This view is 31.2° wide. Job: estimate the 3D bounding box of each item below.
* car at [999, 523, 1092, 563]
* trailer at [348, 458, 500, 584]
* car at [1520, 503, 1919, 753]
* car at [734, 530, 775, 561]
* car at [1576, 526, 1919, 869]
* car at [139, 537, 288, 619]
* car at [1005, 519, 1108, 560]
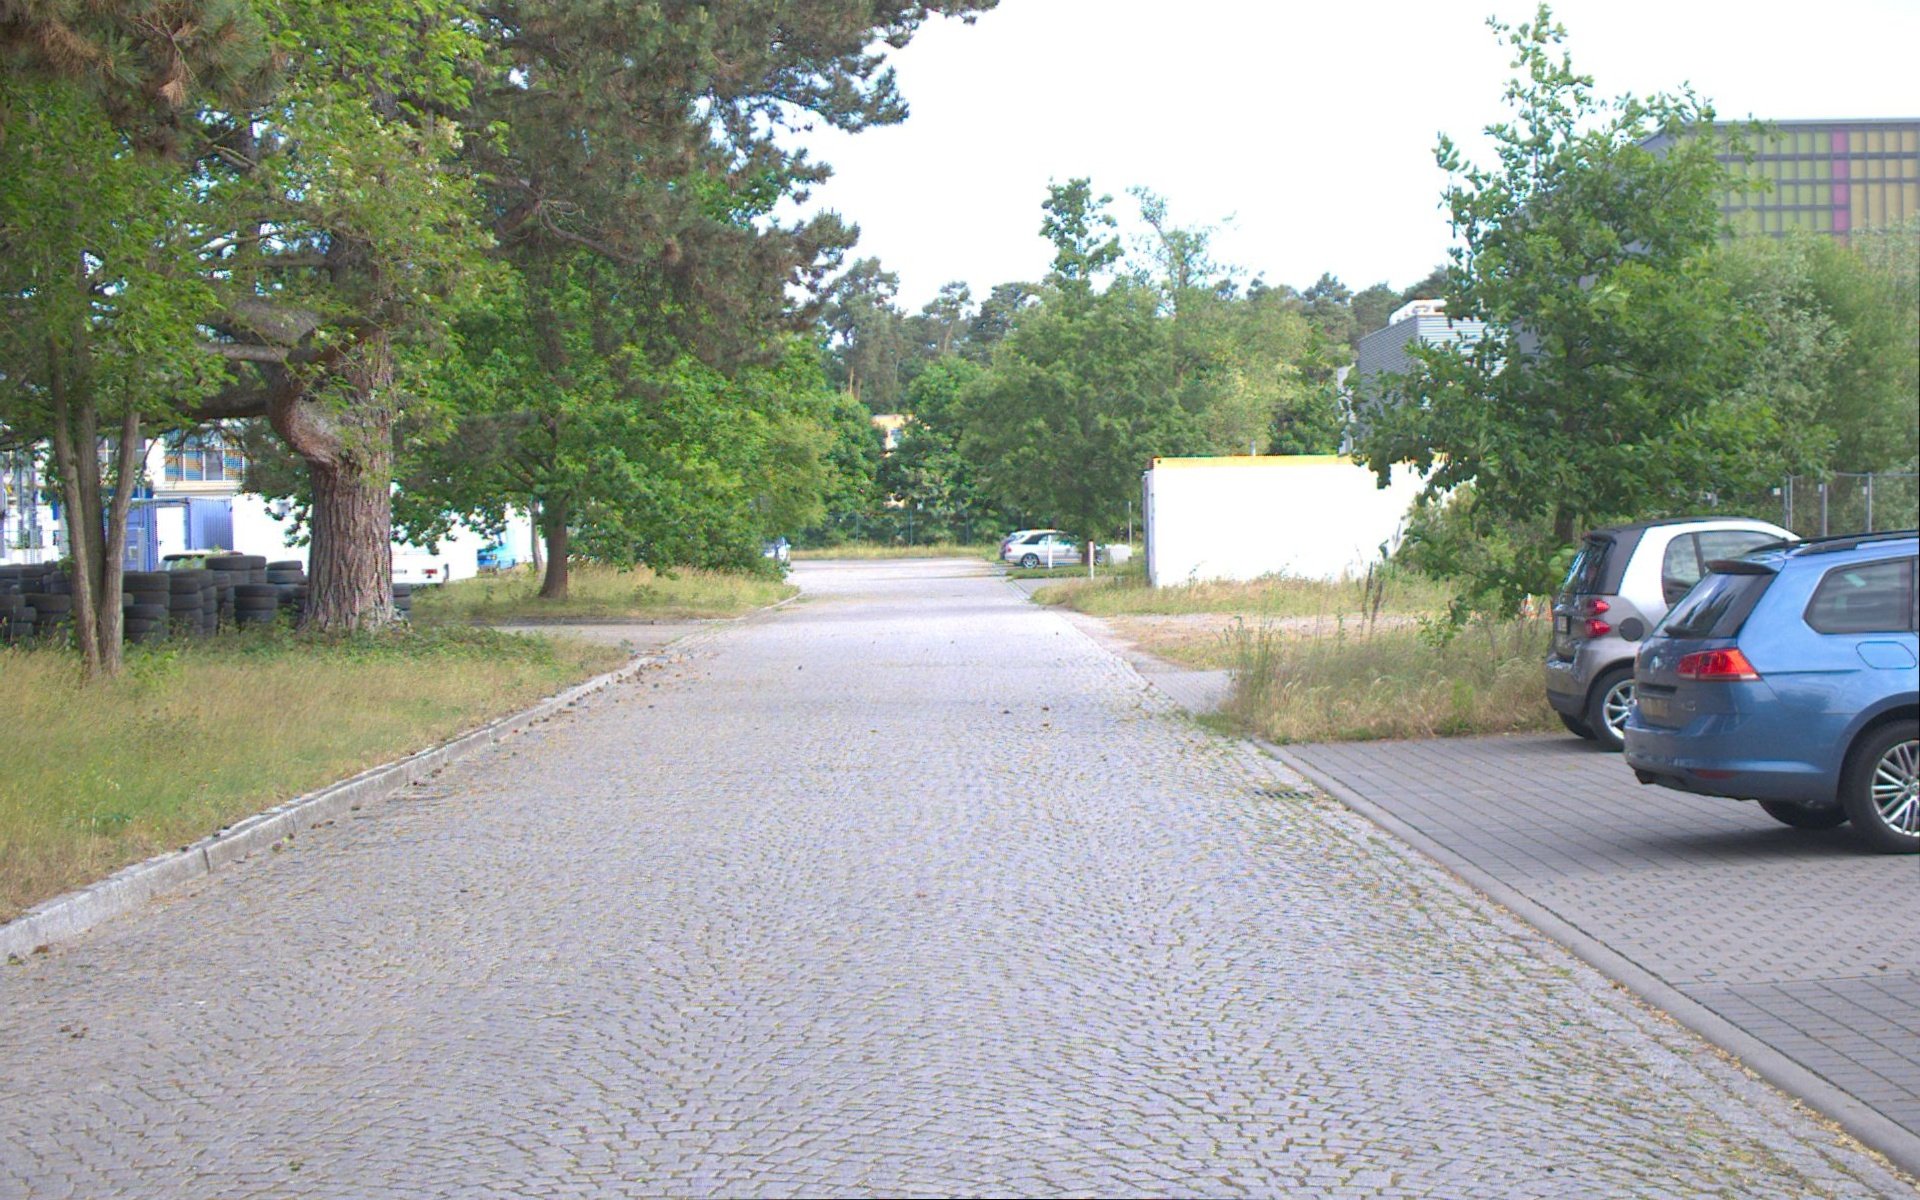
[{"bbox_3d":[3.301,-2.229,133.843,3.522,1.357,1.622,-3,1,0],"label":"car"},{"bbox_3d":[-16.040,-2.365,103.617,2.625,3.585,10.177,-1,1,2],"label":"trailer"},{"bbox_3d":[5.433,0.167,24.014,2.710,1.551,1.654,-3,1,1],"label":"car"},{"bbox_3d":[-9.283,-2.459,155.407,1.648,1.364,3.998,-1,1,0],"label":"car"},{"bbox_3d":[5.459,0.347,16.698,4.490,1.470,1.831,-3,1,-3],"label":"car"},{"bbox_3d":[-14.197,-0.442,65.569,1.626,1.428,4.063,-1,2,5],"label":"car"},{"bbox_3d":[3.817,-2.401,136.535,3.984,1.443,1.653,-3,1,0],"label":"car"}]
